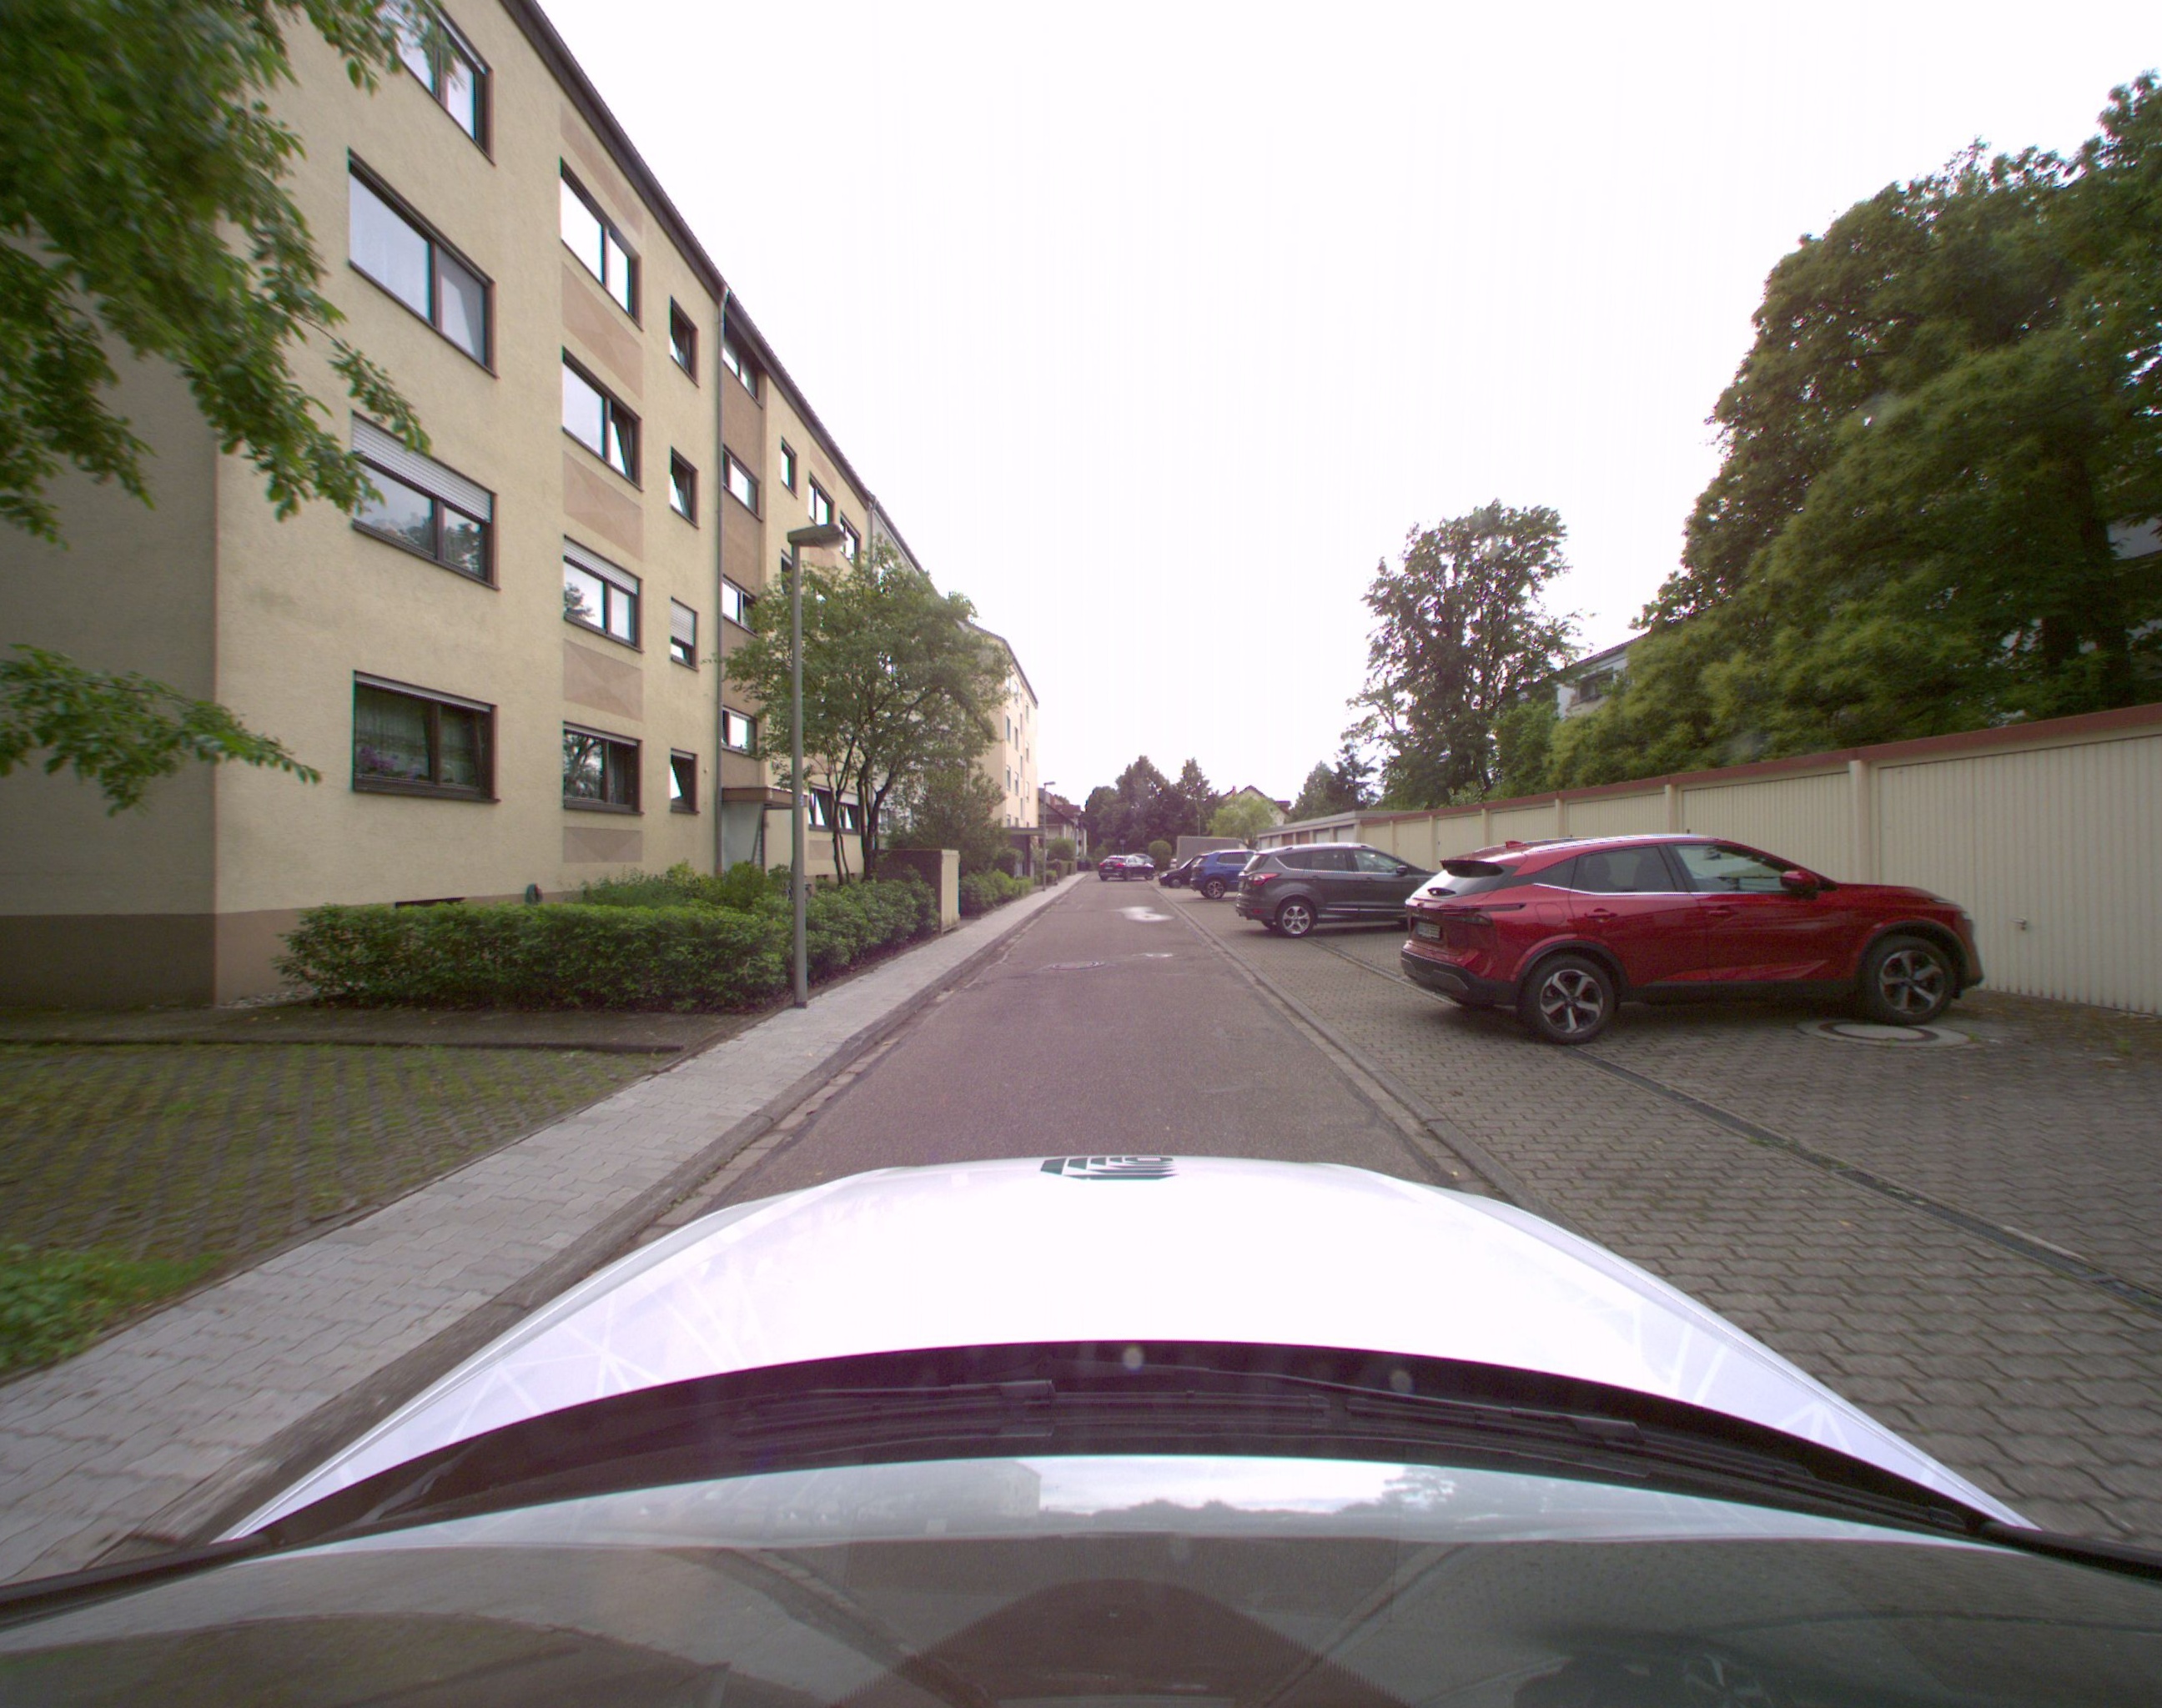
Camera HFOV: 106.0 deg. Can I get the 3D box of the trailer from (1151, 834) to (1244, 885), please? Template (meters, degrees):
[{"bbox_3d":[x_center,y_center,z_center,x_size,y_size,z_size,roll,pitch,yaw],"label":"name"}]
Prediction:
[{"bbox_3d":[5.928,0.283,41.996,4.591,2.525,1.944,0,0,2],"label":"trailer"}]

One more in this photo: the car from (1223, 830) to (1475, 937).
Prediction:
[{"bbox_3d":[5.022,0.530,15.743,4.180,1.727,2.001,-3,0,1],"label":"car"}]

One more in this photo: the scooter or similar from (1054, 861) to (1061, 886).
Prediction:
[{"bbox_3d":[-1.137,0.939,39.716,0.272,1.211,1.165,-1,0,1],"label":"scooter or similar"}]

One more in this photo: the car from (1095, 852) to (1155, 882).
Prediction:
[{"bbox_3d":[2.641,0.752,47.990,1.975,1.552,4.025,-3,0,28],"label":"car"}]

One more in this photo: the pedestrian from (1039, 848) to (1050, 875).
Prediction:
[{"bbox_3d":[-2.356,0.469,53.192,0.677,1.749,0.756,0,-1,0],"label":"pedestrian"}]

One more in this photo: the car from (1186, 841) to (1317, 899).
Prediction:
[{"bbox_3d":[5.654,0.517,27.377,3.972,1.703,2.001,-3,0,1],"label":"car"}]

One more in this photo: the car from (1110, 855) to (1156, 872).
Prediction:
[{"bbox_3d":[4.818,0.862,75.715,4.221,1.531,1.748,0,-2,1],"label":"car"}]

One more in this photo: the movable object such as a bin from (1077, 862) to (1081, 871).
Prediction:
[{"bbox_3d":[-0.185,1.246,79.352,0.384,0.890,0.379,0,-1,0],"label":"movable object such as a bin"}]

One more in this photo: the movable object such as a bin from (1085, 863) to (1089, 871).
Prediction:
[{"bbox_3d":[0.584,1.249,79.674,0.458,0.797,0.379,0,-1,-1],"label":"movable object such as a bin"}]

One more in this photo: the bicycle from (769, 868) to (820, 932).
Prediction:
[{"bbox_3d":[-5.336,0.836,15.246,0.314,1.051,1.692,-1,1,1],"label":"bicycle"}]

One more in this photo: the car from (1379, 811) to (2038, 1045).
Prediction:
[{"bbox_3d":[5.134,0.564,7.184,4.273,1.586,1.936,-3,0,1],"label":"car"}]

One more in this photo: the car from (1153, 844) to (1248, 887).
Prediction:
[{"bbox_3d":[5.709,0.530,39.283,4.295,1.802,2.001,-3,0,1],"label":"car"}]

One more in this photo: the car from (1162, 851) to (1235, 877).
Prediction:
[{"bbox_3d":[7.486,0.643,52.392,4.517,1.588,1.990,-1,0,3],"label":"car"}]
